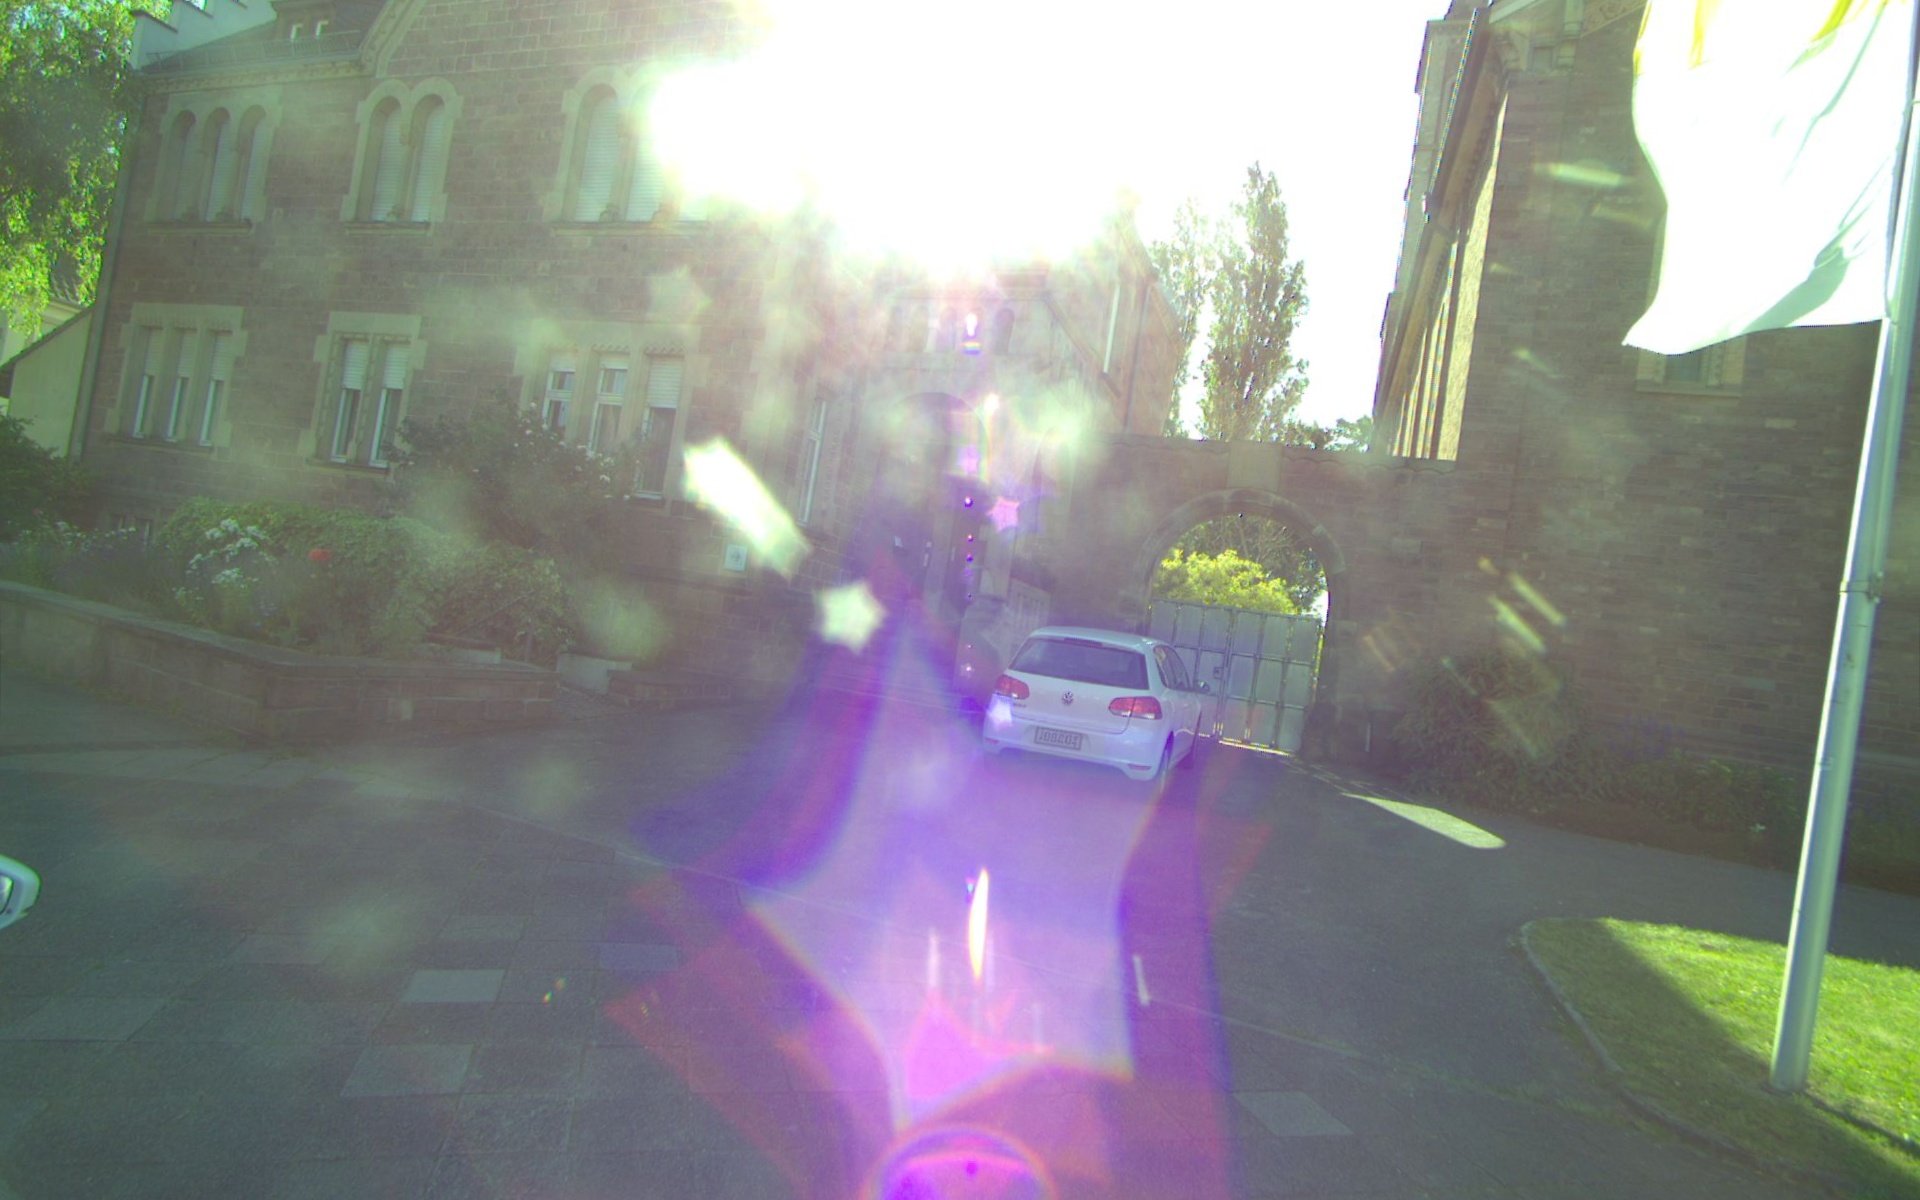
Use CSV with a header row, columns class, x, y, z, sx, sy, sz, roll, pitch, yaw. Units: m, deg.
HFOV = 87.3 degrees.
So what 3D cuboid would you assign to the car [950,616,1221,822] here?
class,x,y,z,sx,sy,sz,roll,pitch,yaw
car,1.509,1.069,10.506,1.869,1.515,3.909,6,0,20
